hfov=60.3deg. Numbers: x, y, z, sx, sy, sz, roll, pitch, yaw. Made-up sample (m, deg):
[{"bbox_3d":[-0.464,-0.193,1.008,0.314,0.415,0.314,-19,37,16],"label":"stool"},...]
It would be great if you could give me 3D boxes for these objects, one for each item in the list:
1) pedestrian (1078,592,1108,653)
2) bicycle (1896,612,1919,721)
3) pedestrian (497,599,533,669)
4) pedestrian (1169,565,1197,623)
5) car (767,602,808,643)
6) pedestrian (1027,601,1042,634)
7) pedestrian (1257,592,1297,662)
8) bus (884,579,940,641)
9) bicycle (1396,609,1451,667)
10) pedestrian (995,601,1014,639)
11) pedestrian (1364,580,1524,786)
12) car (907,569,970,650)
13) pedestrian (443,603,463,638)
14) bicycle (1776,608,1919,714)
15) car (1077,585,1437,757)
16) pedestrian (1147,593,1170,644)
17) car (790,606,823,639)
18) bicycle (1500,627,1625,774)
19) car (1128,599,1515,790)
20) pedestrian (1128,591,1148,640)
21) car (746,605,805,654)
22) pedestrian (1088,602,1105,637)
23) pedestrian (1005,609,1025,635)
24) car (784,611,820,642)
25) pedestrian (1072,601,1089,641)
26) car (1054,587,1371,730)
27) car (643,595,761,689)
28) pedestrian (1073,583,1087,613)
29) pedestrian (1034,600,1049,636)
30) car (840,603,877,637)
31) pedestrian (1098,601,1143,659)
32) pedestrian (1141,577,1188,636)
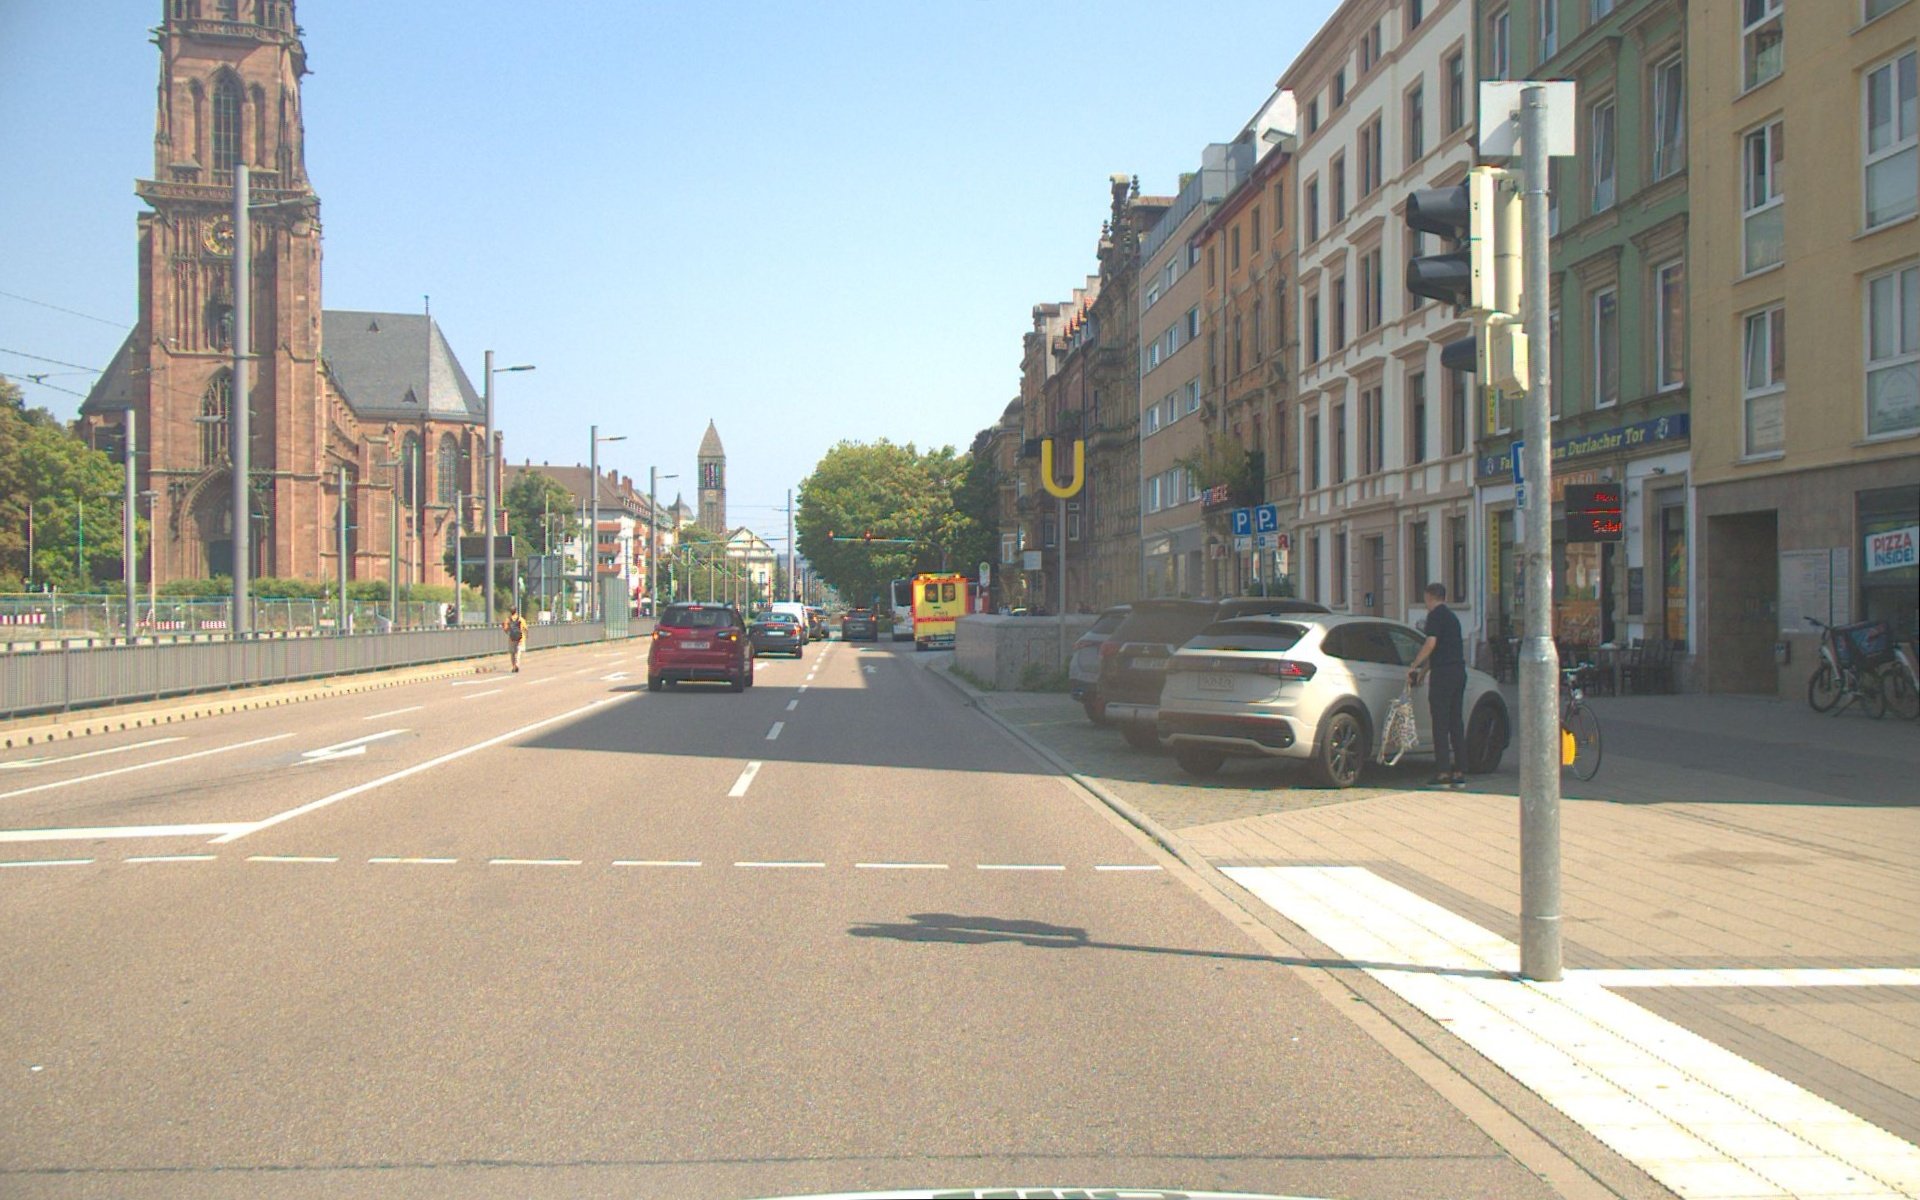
[{"bbox_3d":[3.985,0.656,49.644,0.832,1.759,0.971,-1,2,3],"label":"pedestrian"},{"bbox_3d":[11.661,0.773,18.559,0.919,1.260,2.422,0,0,-1],"label":"bicycle"},{"bbox_3d":[-11.573,0.882,43.042,0.746,1.782,1.067,0,-1,-5],"label":"pedestrian"},{"bbox_3d":[7.046,-0.182,52.209,0.670,1.805,1.017,0,1,-4],"label":"pedestrian"},{"bbox_3d":[-7.678,1.015,73.810,1.755,1.811,3.995,0,-1,-5],"label":"car"},{"bbox_3d":[3.888,0.910,86.153,0.683,1.696,1.064,0,-1,-2],"label":"pedestrian"},{"bbox_3d":[8.765,0.744,45.794,0.826,1.878,0.684,-2,0,-13],"label":"pedestrian"},{"bbox_3d":[-2.661,0.535,88.426,2.484,3.085,12.425,0,0,-4],"label":"bus"},{"bbox_3d":[10.539,0.844,37.678,0.470,1.166,2.470,0,2,-2],"label":"bicycle"},{"bbox_3d":[2.048,0.909,75.762,0.682,1.696,0.603,0,-1,22],"label":"pedestrian"},{"bbox_3d":[4.270,0.706,14.609,1.024,1.734,0.895,1,-1,-30],"label":"pedestrian"},{"bbox_3d":[-0.792,0.342,63.758,2.252,2.939,5.598,-2,0,0],"label":"car"},{"bbox_3d":[-25.742,1.050,83.926,0.812,1.782,0.720,0,-1,-4],"label":"pedestrian"},{"bbox_3d":[11.513,0.740,21.155,0.919,1.260,2.422,0,0,-1],"label":"bicycle"},{"bbox_3d":[3.470,0.701,18.779,1.953,1.717,4.362,-1,0,44],"label":"car"},{"bbox_3d":[7.323,0.681,61.071,0.588,1.826,0.879,-3,-1,-4],"label":"pedestrian"},{"bbox_3d":[-8.328,1.222,89.950,1.755,1.728,3.995,0,-1,-5],"label":"car"},{"bbox_3d":[5.742,0.930,15.862,0.463,1.319,1.791,-1,-1,-2],"label":"bicycle"},{"bbox_3d":[3.480,0.817,15.576,3.756,1.526,1.778,2,0,-44],"label":"car"},{"bbox_3d":[6.566,0.558,61.056,0.566,1.781,0.678,-3,-1,-4],"label":"pedestrian"},{"bbox_3d":[-5.781,0.896,52.162,1.755,1.456,3.995,0,0,-6],"label":"car"},{"bbox_3d":[5.971,0.843,72.395,0.630,1.519,0.788,0,-1,-4],"label":"pedestrian"},{"bbox_3d":[3.831,1.532,115.165,1.224,1.782,1.525,0,2,-3],"label":"pedestrian"},{"bbox_3d":[-7.789,1.315,81.772,1.755,1.498,3.995,0,-1,-5],"label":"car"},{"bbox_3d":[5.263,0.917,72.337,0.630,1.714,0.788,0,-1,-4],"label":"pedestrian"},{"bbox_3d":[3.539,0.709,22.594,2.009,1.743,4.634,-1,0,44],"label":"car"},{"bbox_3d":[-4.818,0.748,31.387,1.727,1.646,4.080,0,0,-2],"label":"car"},{"bbox_3d":[6.664,-0.119,91.721,0.611,1.621,0.694,0,0,-10],"label":"pedestrian"},{"bbox_3d":[3.875,0.854,78.811,0.683,1.696,0.602,0,-1,-2],"label":"pedestrian"},{"bbox_3d":[-5.136,1.027,83.485,1.755,1.707,3.995,0,-1,-5],"label":"car"},{"bbox_3d":[4.575,0.852,47.116,0.844,1.609,0.958,0,-1,-37],"label":"pedestrian"},{"bbox_3d":[5.592,0.186,45.317,0.844,1.609,0.958,0,-1,-37],"label":"pedestrian"}]
